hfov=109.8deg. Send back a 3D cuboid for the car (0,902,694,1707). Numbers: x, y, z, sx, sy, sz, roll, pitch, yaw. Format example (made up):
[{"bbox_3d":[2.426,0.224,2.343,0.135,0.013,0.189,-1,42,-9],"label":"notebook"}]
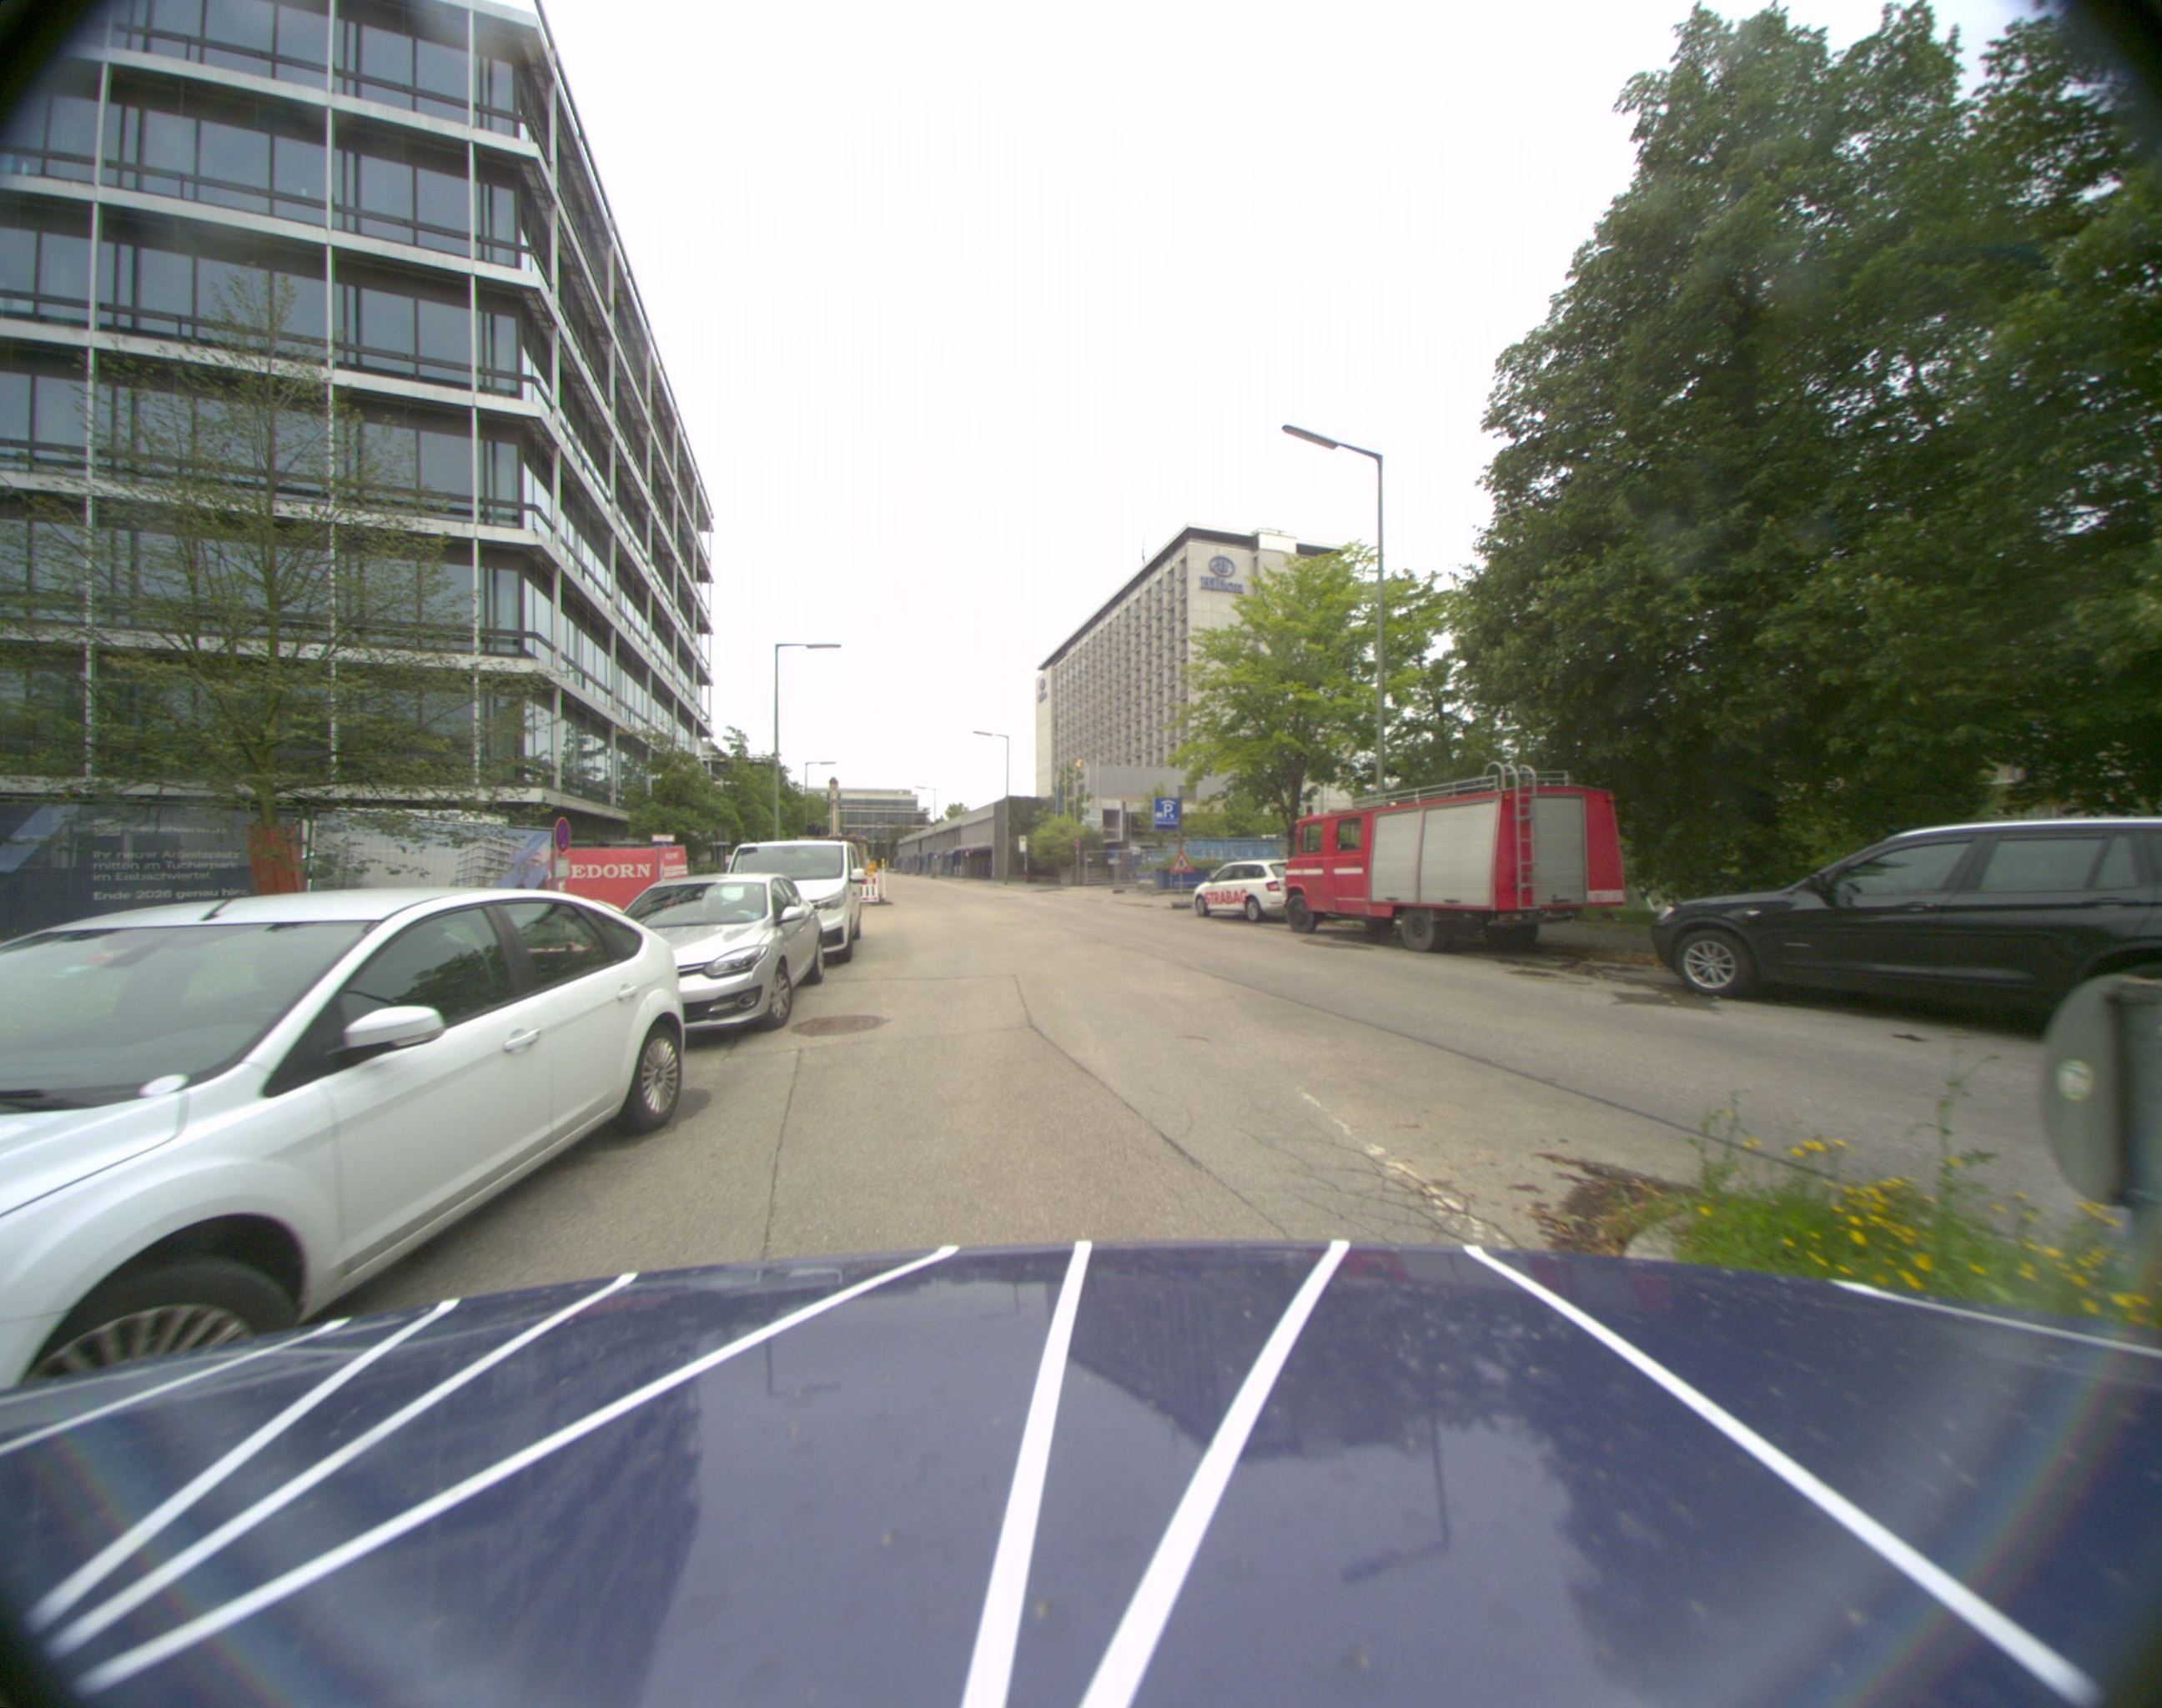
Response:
[{"bbox_3d":[-3.237,1.044,2.812,1.772,1.477,4.219,0,0,-5],"label":"car"}]

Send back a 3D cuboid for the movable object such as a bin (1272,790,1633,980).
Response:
[{"bbox_3d":[5.710,0.428,13.021,2.112,2.444,6.179,0,0,-14],"label":"movable object such as a bin"}]

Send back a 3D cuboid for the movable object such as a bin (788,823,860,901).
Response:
[{"bbox_3d":[-13.782,0.370,40.677,3.254,3.695,8.992,0,0,-19],"label":"movable object such as a bin"}]

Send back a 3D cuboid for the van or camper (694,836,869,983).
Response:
[{"bbox_3d":[-4.857,0.756,13.165,2.001,2.002,5.370,0,0,-13],"label":"van or camper"}]

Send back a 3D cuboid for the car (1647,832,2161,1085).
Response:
[{"bbox_3d":[7.541,0.684,6.264,1.783,1.639,4.454,0,0,-16],"label":"car"}]

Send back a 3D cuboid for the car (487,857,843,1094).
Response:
[{"bbox_3d":[-3.810,0.904,7.973,2.000,1.718,4.445,0,0,-11],"label":"car"}]

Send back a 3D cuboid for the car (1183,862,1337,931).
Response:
[{"bbox_3d":[4.413,0.993,19.443,1.783,1.540,4.250,0,0,-20],"label":"car"}]
